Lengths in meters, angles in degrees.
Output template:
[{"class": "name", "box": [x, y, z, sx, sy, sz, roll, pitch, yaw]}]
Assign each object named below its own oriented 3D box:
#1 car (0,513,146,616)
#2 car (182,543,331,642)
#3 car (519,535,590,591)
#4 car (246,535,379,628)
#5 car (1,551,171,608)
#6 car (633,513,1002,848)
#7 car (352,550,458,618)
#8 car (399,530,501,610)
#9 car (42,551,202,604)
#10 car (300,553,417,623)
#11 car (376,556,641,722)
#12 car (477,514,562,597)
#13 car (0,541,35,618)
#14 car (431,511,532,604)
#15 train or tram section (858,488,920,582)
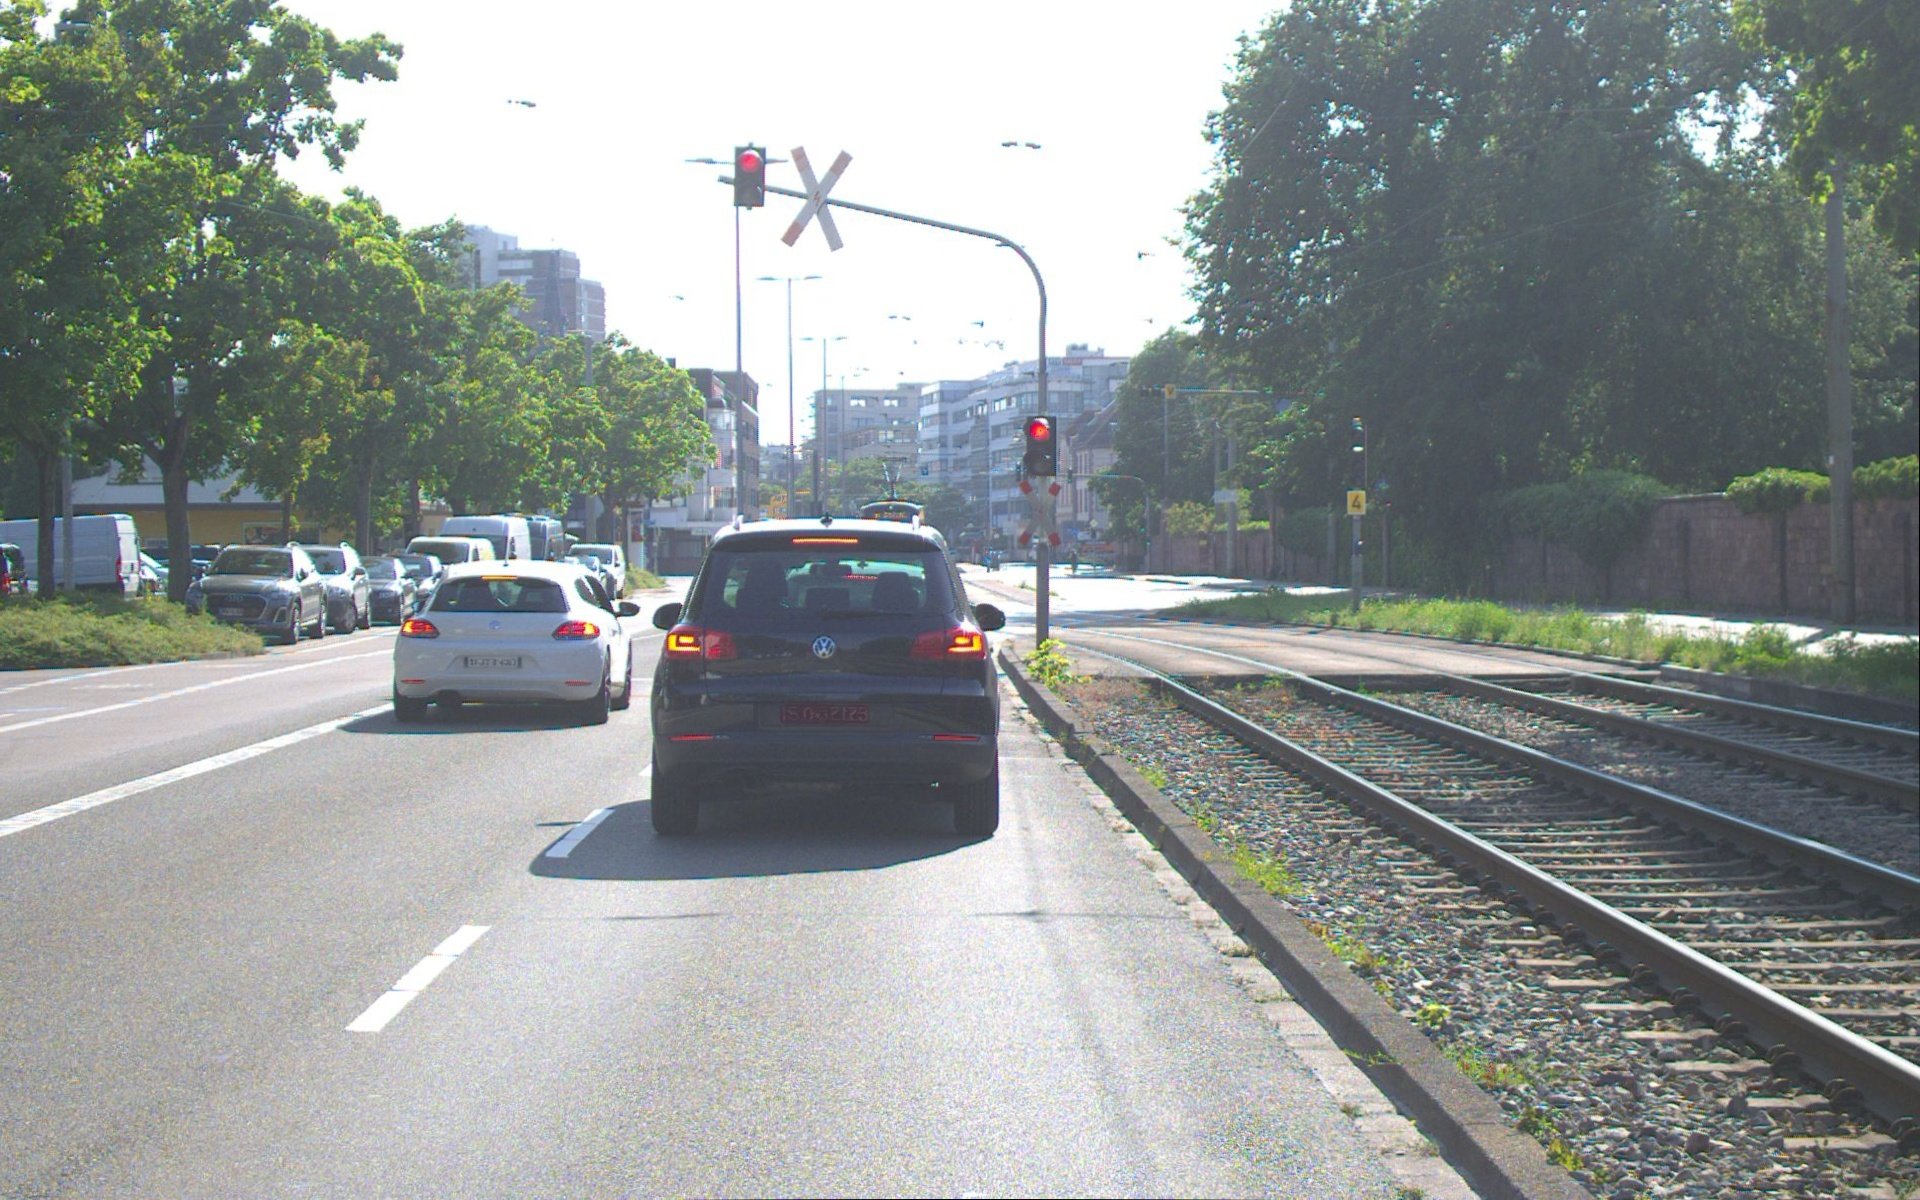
[{"class": "car", "box": [-22.596, -0.857, 83.041, 5.375, 2.415, 2.088, -1, 1, 0]}, {"class": "car", "box": [-12.265, -0.165, 60.145, 1.732, 1.652, 4.000, -1, 1, 1]}, {"class": "car", "box": [-12.765, -1.186, 108.393, 1.732, 1.689, 4.000, -1, 1, 1]}, {"class": "car", "box": [-12.343, -0.381, 65.733, 1.732, 1.689, 4.000, -1, 1, 1]}, {"class": "car", "box": [-22.460, -0.538, 88.455, 3.986, 1.392, 1.738, -1, 1, -4]}, {"class": "car", "box": [-0.727, 0.377, 19.010, 1.811, 1.639, 4.000, 1, 1, -1]}, {"class": "car", "box": [-12.552, -0.386, 77.930, 1.732, 1.445, 3.735, -1, 1, 1]}, {"class": "car", "box": [-12.316, -0.746, 83.247, 1.732, 1.853, 4.489, -1, 1, 1]}, {"class": "car", "box": [-22.867, -0.628, 93.924, 3.986, 1.392, 1.738, -1, 1, -4]}, {"class": "car", "box": [-12.573, -0.269, 72.048, 1.732, 1.384, 3.735, -1, 1, 1]}, {"class": "car", "box": [-3.925, 0.297, 30.489, 1.864, 1.343, 4.000, 0, 1, -1]}, {"class": "car", "box": [-12.373, -1.277, 96.745, 1.732, 2.261, 4.645, -1, 1, 1]}, {"class": "car", "box": [-22.765, -0.441, 75.000, 4.617, 1.646, 2.049, -1, 1, -2]}, {"class": "car", "box": [-12.482, -1.124, 89.917, 1.863, 2.339, 4.985, -1, 1, 1]}, {"class": "train or tram section", "box": [-2.775, -2.569, 135.791, 2.326, 3.558, 8.900, -1, 1, -1]}]
